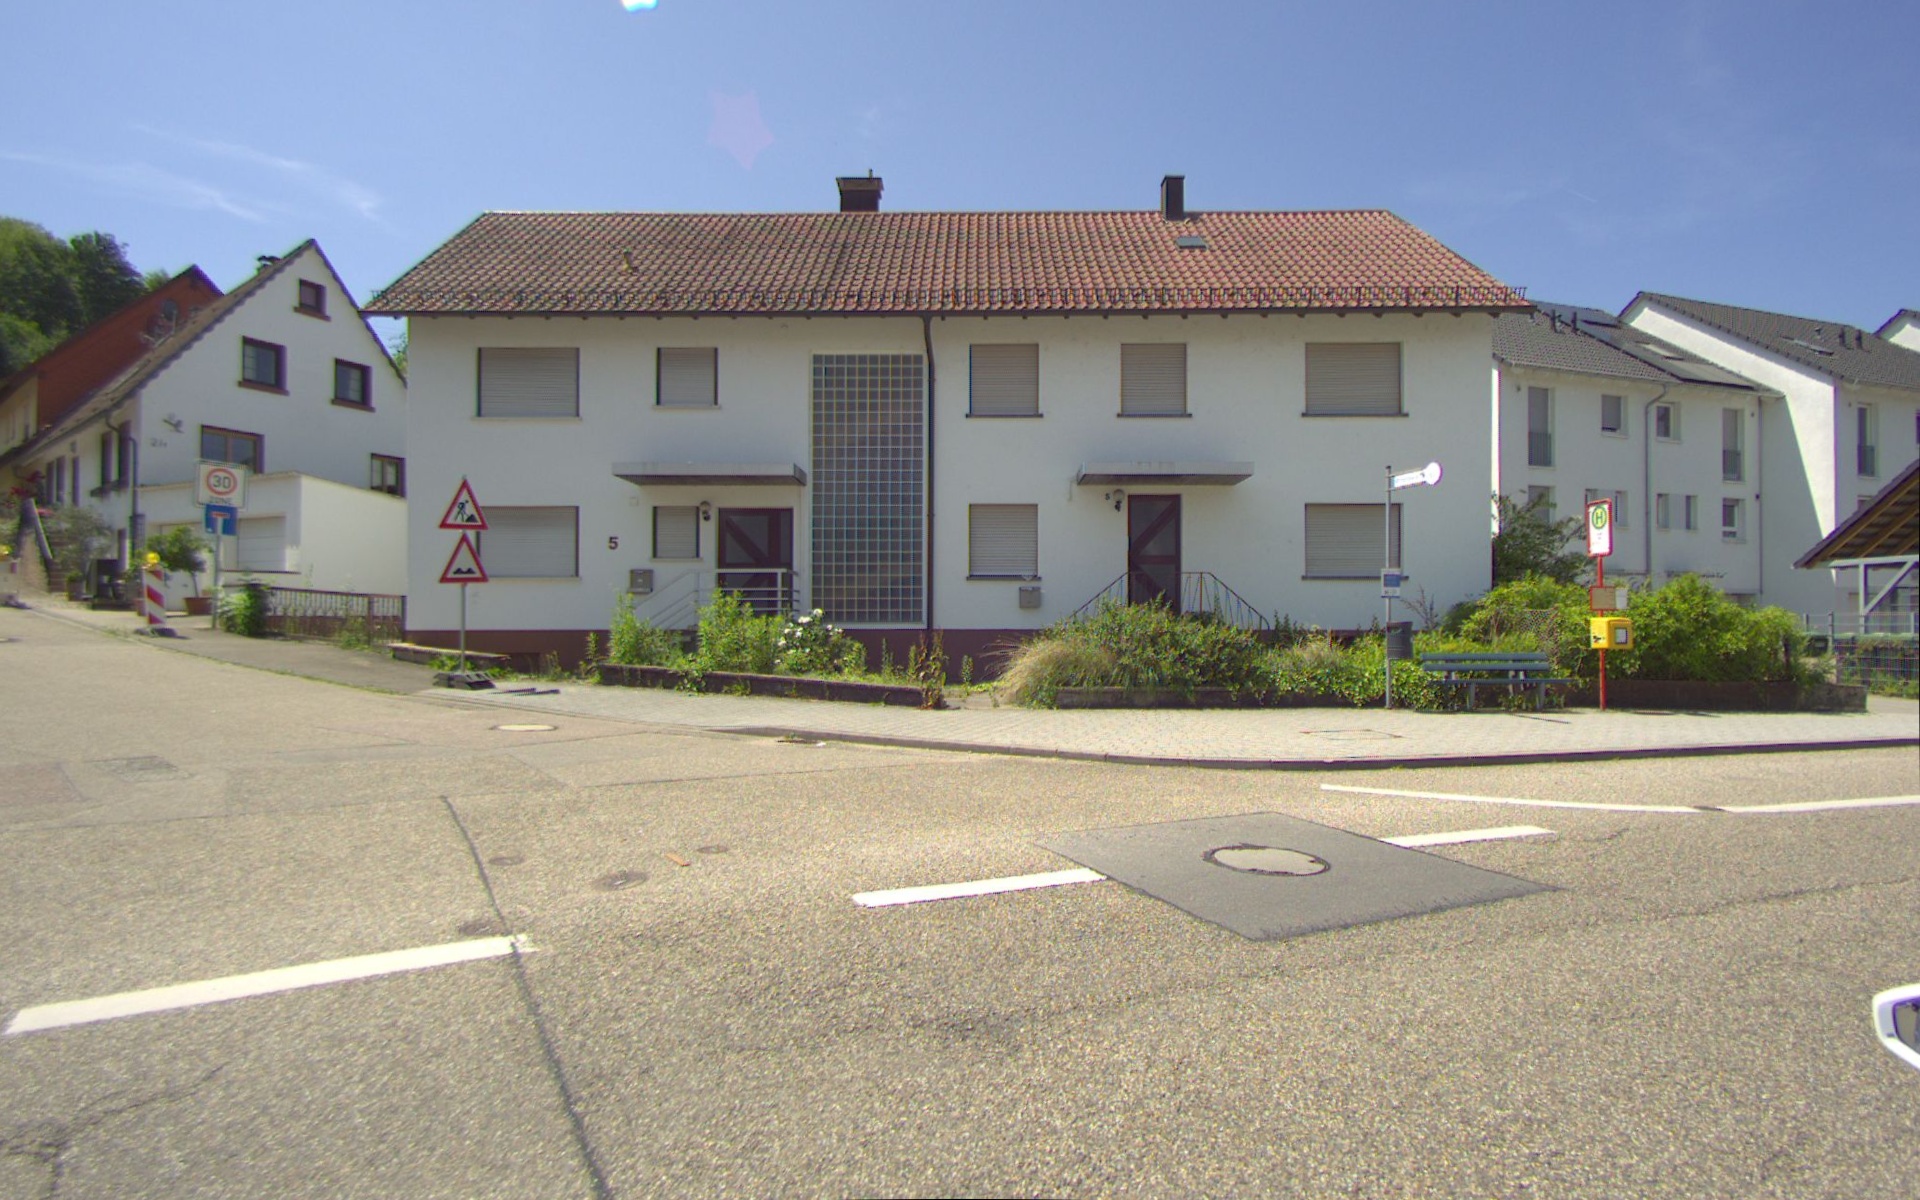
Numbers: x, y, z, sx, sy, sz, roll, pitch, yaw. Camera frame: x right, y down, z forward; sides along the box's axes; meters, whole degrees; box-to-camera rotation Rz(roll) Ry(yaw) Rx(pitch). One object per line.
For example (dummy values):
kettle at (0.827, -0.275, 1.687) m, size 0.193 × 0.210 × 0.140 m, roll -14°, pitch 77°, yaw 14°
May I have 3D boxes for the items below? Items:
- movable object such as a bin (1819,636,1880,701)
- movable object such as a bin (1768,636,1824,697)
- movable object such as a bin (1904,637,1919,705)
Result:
movable object such as a bin at (18.432, 1.411, 20.822) m, size 0.681 × 1.295 × 0.641 m, roll 1°, pitch 0°, yaw -7°
movable object such as a bin at (18.207, 1.436, 21.877) m, size 0.681 × 1.295 × 0.641 m, roll 1°, pitch 0°, yaw -7°
movable object such as a bin at (18.669, 1.368, 19.179) m, size 0.681 × 1.295 × 0.641 m, roll 1°, pitch 0°, yaw -7°
